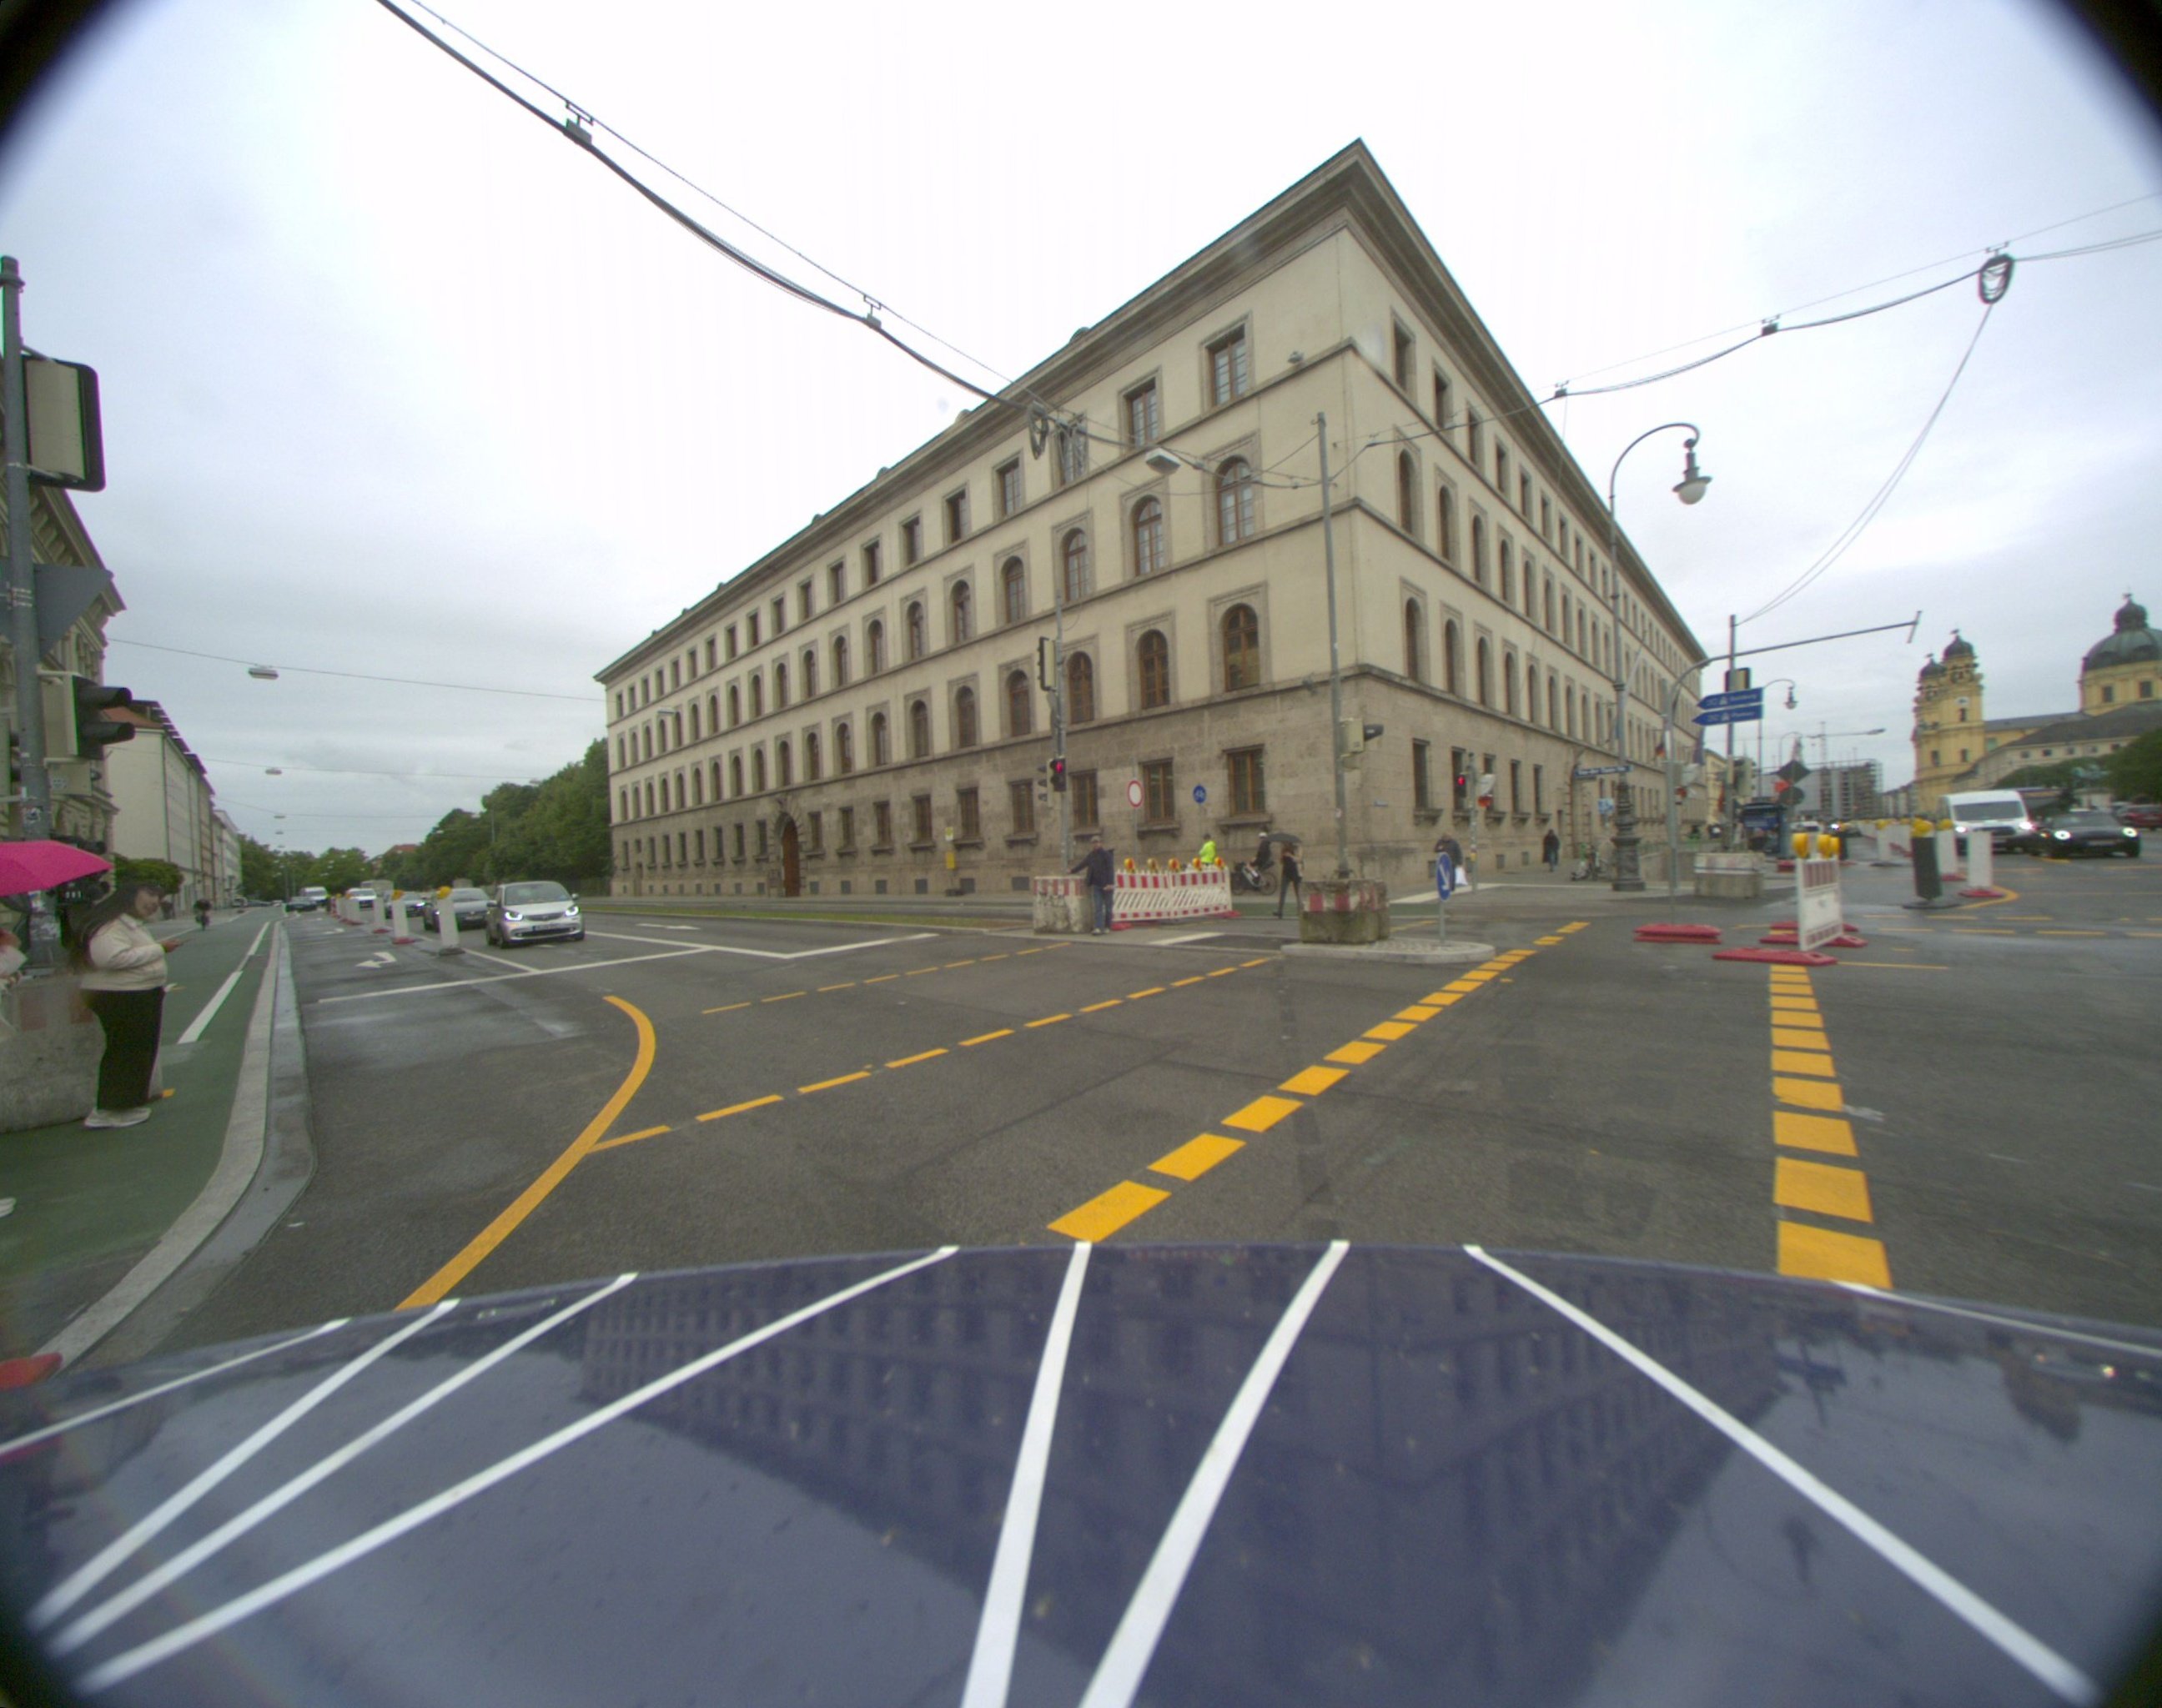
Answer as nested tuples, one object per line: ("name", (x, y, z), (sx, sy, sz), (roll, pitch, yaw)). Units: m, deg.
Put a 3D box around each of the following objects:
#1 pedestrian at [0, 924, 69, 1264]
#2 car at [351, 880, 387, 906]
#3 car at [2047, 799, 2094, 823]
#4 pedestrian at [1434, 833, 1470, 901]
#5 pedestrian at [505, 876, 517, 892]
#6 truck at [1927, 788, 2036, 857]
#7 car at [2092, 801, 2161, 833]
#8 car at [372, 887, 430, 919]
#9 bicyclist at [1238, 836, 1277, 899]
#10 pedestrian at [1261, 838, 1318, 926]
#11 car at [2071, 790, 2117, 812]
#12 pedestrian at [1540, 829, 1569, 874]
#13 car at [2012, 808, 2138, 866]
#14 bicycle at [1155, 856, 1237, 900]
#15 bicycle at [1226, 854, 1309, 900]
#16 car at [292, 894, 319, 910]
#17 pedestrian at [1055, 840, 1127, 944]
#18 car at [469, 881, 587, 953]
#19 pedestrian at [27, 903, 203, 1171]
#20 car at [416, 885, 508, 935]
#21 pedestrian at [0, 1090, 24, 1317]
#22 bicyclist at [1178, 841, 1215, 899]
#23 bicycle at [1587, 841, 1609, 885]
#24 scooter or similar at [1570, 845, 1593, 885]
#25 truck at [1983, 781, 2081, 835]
("pedestrian", (-5.442, 1.155, 3.530), (0.706, 1.558, 0.540), (-6, 2, -44))
("car", (-61.960, 3.382, 66.142), (3.989, 2.002, 2.004), (-3, 1, 44))
("car", (80.589, -3.508, 61.949), (4.007, 1.710, 1.818), (-4, 1, -44))
("pedestrian", (9.300, 0.308, 19.042), (0.737, 1.645, 0.728), (1, 4, 31))
("pedestrian", (-78.673, 4.141, 104.840), (0.757, 2.002, 0.868), (-4, 2, 12))
("truck", (36.068, -1.284, 30.613), (2.111, 2.466, 5.870), (-2, 1, 43))
("car", (63.080, -2.236, 45.885), (1.863, 1.788, 3.759), (-2, 1, 45))
("car", (-38.400, 2.736, 42.862), (4.376, 1.549, 2.004), (-3, 1, 44))
("bicyclist", (5.169, 0.397, 22.222), (0.802, 1.766, 0.687), (-5, 2, -42))
("pedestrian", (4.389, 0.575, 15.954), (0.737, 1.762, 0.848), (-2, 2, 44))
("car", (89.119, -4.665, 66.873), (1.818, 1.710, 4.007), (-2, 1, 44))
("pedestrian", (17.738, -0.096, 28.478), (0.728, 1.645, 0.737), (-4, 4, -44))
("car", (31.873, -0.570, 24.500), (1.796, 1.585, 4.007), (-3, 2, 43))
("bicycle", (3.533, 0.761, 23.634), (2.442, 1.235, 0.791), (-3, 2, 44))
("bicycle", (5.375, 0.673, 22.022), (0.791, 1.235, 2.193), (-5, 2, -42))
("car", (-76.500, 4.707, 74.935), (3.989, 1.313, 1.744), (-3, 1, 44))
("pedestrian", (0.165, 0.659, 13.223), (1.040, 1.733, 0.515), (-3, 1, 34))
("car", (-13.971, 1.509, 19.112), (3.989, 1.495, 1.637), (-3, 1, 44))
("pedestrian", (-6.471, 1.166, 5.131), (0.534, 1.610, 0.672), (-6, 2, -44))
("car", (-22.128, 1.944, 27.103), (4.295, 1.433, 1.926), (-3, 3, 44))
("pedestrian", (-4.597, 0.938, 2.714), (0.706, 1.874, 0.639), (-6, 2, -41))
("bicyclist", (3.577, 0.487, 23.563), (0.687, 1.739, 0.802), (-2, 2, 45))
("bicycle", (16.372, 0.263, 24.029), (0.380, 1.235, 1.993), (-3, 2, 39))
("scooter or similar", (15.965, 0.342, 24.229), (0.380, 1.138, 1.993), (-3, 2, 39))
("truck", (59.339, -2.922, 47.583), (2.983, 2.996, 7.155), (-3, 2, 45))
